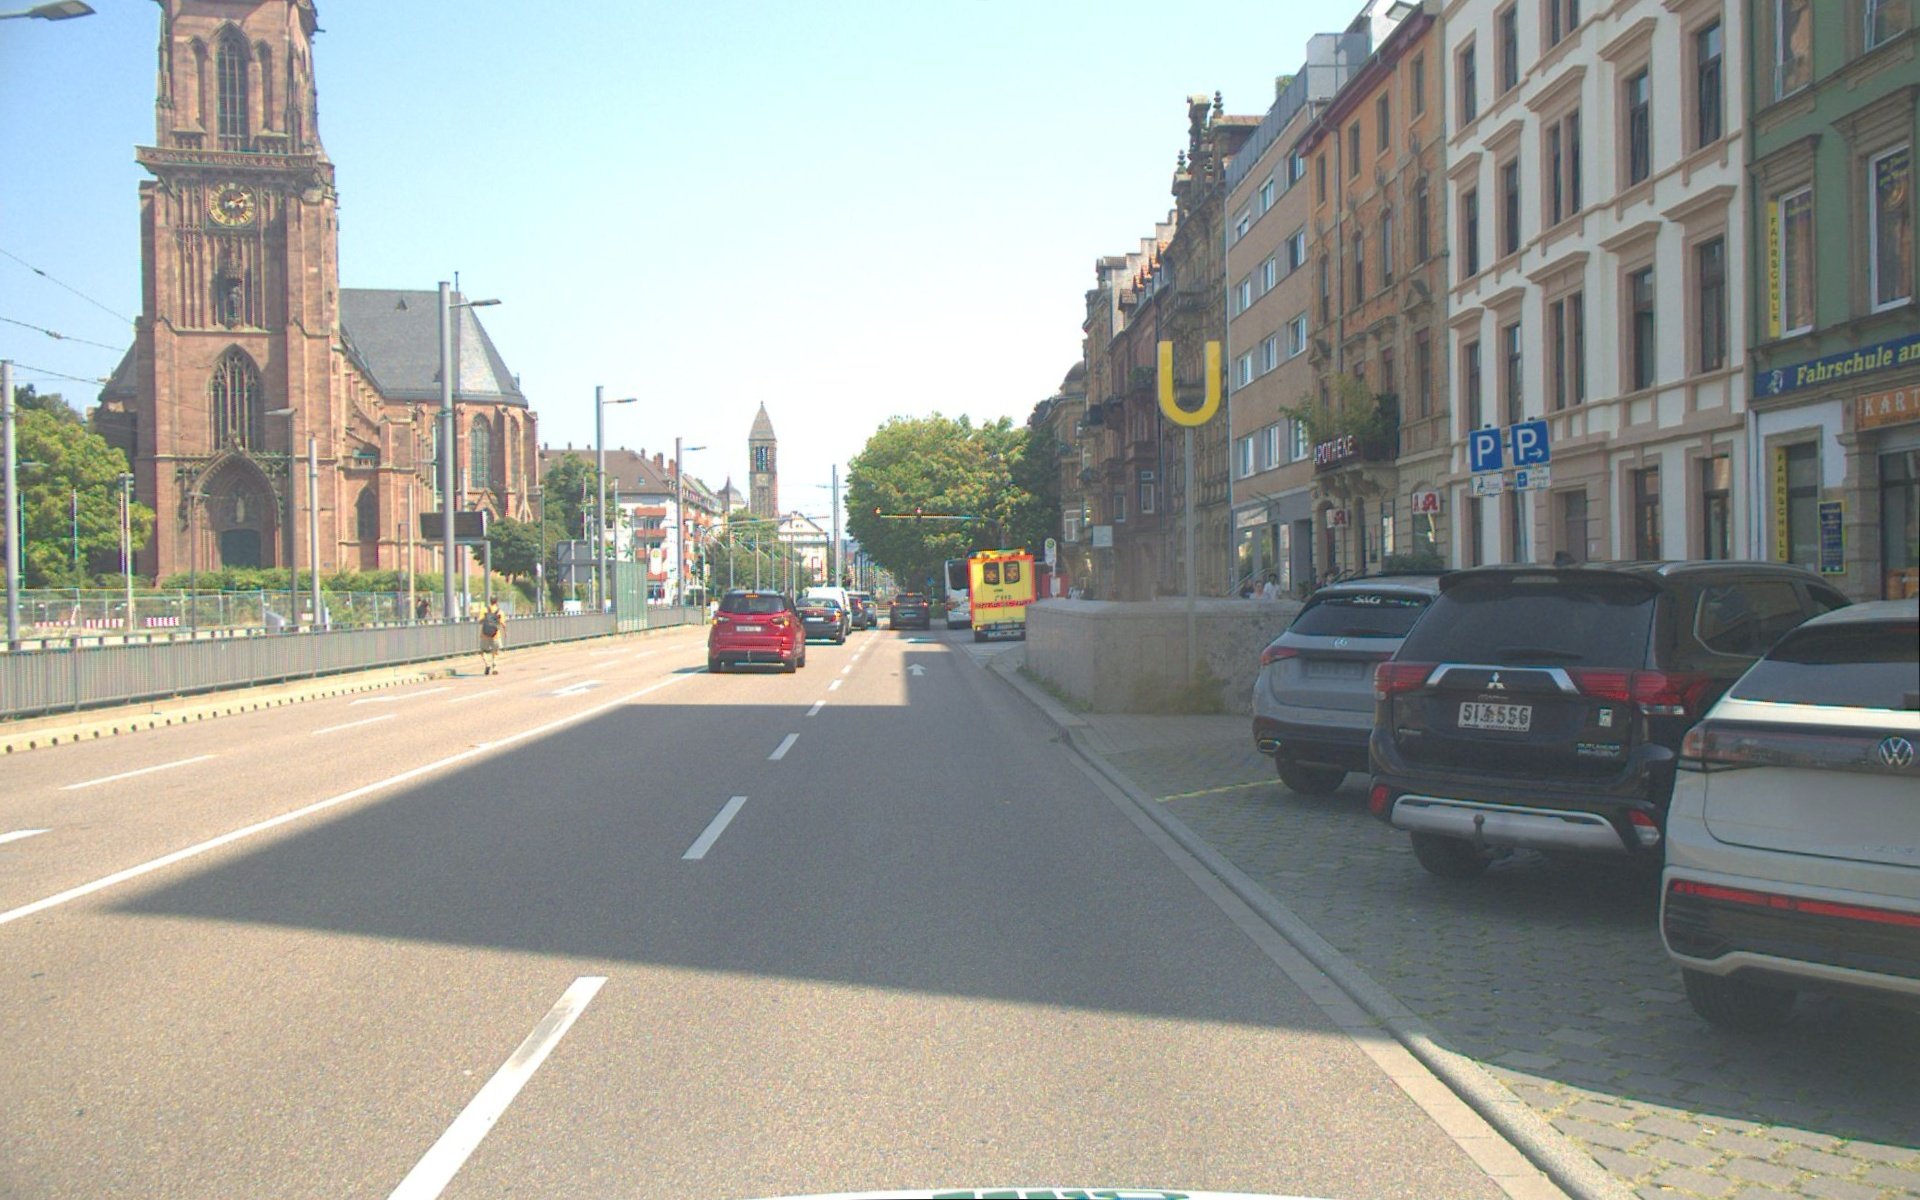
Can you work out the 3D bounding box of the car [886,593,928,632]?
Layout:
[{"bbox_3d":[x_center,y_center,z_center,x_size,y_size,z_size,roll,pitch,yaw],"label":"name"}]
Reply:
[{"bbox_3d":[-2.414,0.571,74.353,1.754,1.707,3.997,-1,-1,-3],"label":"car"}]

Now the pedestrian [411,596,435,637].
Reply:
[{"bbox_3d":[-23.897,0.742,73.547,0.812,1.782,0.720,-1,-1,-2],"label":"pedestrian"}]

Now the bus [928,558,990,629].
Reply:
[{"bbox_3d":[-0.153,-0.293,78.805,2.483,3.085,12.431,-1,0,-2],"label":"bus"}]

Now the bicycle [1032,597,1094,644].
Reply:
[{"bbox_3d":[2.736,0.547,43.983,1.638,1.237,0.644,0,0,3],"label":"bicycle"}]

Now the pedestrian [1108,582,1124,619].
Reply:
[{"bbox_3d":[7.126,0.031,75.506,0.682,1.696,0.603,-1,0,0],"label":"pedestrian"}]

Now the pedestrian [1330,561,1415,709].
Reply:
[{"bbox_3d":[5.181,0.419,20.748,0.848,1.781,0.872,3,2,23],"label":"pedestrian"}]

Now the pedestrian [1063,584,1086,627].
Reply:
[{"bbox_3d":[4.486,0.209,64.799,0.683,1.696,0.602,-1,0,24],"label":"pedestrian"}]

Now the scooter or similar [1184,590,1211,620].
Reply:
[{"bbox_3d":[9.651,0.210,67.177,0.505,1.217,1.296,-1,0,-21],"label":"scooter or similar"}]

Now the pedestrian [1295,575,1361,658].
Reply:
[{"bbox_3d":[7.343,0.331,33.020,0.843,1.609,0.959,-1,0,-35],"label":"pedestrian"}]

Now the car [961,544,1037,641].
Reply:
[{"bbox_3d":[1.293,-0.255,54.154,2.251,2.939,5.600,-2,0,2],"label":"car"}]

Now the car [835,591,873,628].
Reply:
[{"bbox_3d":[-5.145,0.454,80.682,1.754,1.728,3.997,-1,-1,-3],"label":"car"}]

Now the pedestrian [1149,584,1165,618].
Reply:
[{"bbox_3d":[9.736,0.042,81.763,0.611,1.621,0.695,-1,0,-8],"label":"pedestrian"}]

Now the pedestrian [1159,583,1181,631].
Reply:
[{"bbox_3d":[7.703,0.258,60.678,0.630,1.714,0.789,-1,0,-3],"label":"pedestrian"}]

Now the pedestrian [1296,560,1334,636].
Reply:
[{"bbox_3d":[8.678,-0.062,40.473,0.670,1.805,1.017,-1,1,-3],"label":"pedestrian"}]

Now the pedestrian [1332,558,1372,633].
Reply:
[{"bbox_3d":[9.558,-0.116,40.316,0.670,1.805,1.017,-1,1,-3],"label":"pedestrian"}]

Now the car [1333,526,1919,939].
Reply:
[{"bbox_3d":[4.107,0.512,9.100,4.359,1.717,1.954,-2,1,-44],"label":"car"}]

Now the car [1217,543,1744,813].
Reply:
[{"bbox_3d":[4.241,0.463,13.017,4.630,1.743,2.011,-2,1,-44],"label":"car"}]

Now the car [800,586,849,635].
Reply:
[{"bbox_3d":[-5.264,0.416,64.646,1.754,1.811,3.997,-1,-1,-3],"label":"car"}]

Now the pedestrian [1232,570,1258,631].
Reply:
[{"bbox_3d":[8.550,0.020,49.606,0.565,1.780,0.679,-3,0,-2],"label":"pedestrian"}]

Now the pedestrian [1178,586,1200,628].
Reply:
[{"bbox_3d":[8.396,0.269,60.737,0.630,1.519,0.789,-1,0,-3],"label":"pedestrian"}]

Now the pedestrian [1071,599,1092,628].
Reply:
[{"bbox_3d":[7.737,0.853,105.431,1.224,1.782,1.526,-1,2,-1],"label":"pedestrian"}]

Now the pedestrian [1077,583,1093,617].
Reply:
[{"bbox_3d":[6.241,-0.011,82.692,0.682,1.696,1.064,-1,0,0],"label":"pedestrian"}]

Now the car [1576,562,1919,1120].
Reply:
[{"bbox_3d":[3.943,0.675,5.910,3.755,1.526,1.779,1,1,-43],"label":"car"}]

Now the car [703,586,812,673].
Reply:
[{"bbox_3d":[-4.110,0.548,34.054,1.726,1.646,4.082,-1,0,0],"label":"car"}]

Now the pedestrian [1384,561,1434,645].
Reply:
[{"bbox_3d":[10.303,0.063,37.968,0.826,1.878,0.684,-3,0,-11],"label":"pedestrian"}]

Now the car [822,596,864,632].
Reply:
[{"bbox_3d":[-5.110,0.616,72.530,1.754,1.498,3.997,-1,-1,-3],"label":"car"}]

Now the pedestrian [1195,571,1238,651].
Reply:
[{"bbox_3d":[5.844,0.239,37.727,0.832,1.759,0.972,-2,2,4],"label":"pedestrian"}]

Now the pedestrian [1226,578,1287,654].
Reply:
[{"bbox_3d":[6.416,0.341,35.767,0.843,1.609,0.959,-1,0,-35],"label":"pedestrian"}]

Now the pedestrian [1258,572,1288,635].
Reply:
[{"bbox_3d":[9.396,0.109,49.683,0.587,1.826,0.879,-3,0,-2],"label":"pedestrian"}]

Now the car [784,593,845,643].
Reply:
[{"bbox_3d":[-4.433,0.522,50.919,1.755,1.456,3.997,-1,0,-4],"label":"car"}]

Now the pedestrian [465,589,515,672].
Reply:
[{"bbox_3d":[-10.343,0.669,36.437,0.745,1.782,1.069,-1,-1,1],"label":"pedestrian"}]

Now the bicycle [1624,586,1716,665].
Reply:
[{"bbox_3d":[11.777,0.388,27.531,0.470,1.166,2.471,-1,2,0],"label":"bicycle"}]

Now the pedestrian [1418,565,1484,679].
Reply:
[{"bbox_3d":[7.570,0.326,25.527,0.657,1.715,0.942,-2,0,-2],"label":"pedestrian"}]
